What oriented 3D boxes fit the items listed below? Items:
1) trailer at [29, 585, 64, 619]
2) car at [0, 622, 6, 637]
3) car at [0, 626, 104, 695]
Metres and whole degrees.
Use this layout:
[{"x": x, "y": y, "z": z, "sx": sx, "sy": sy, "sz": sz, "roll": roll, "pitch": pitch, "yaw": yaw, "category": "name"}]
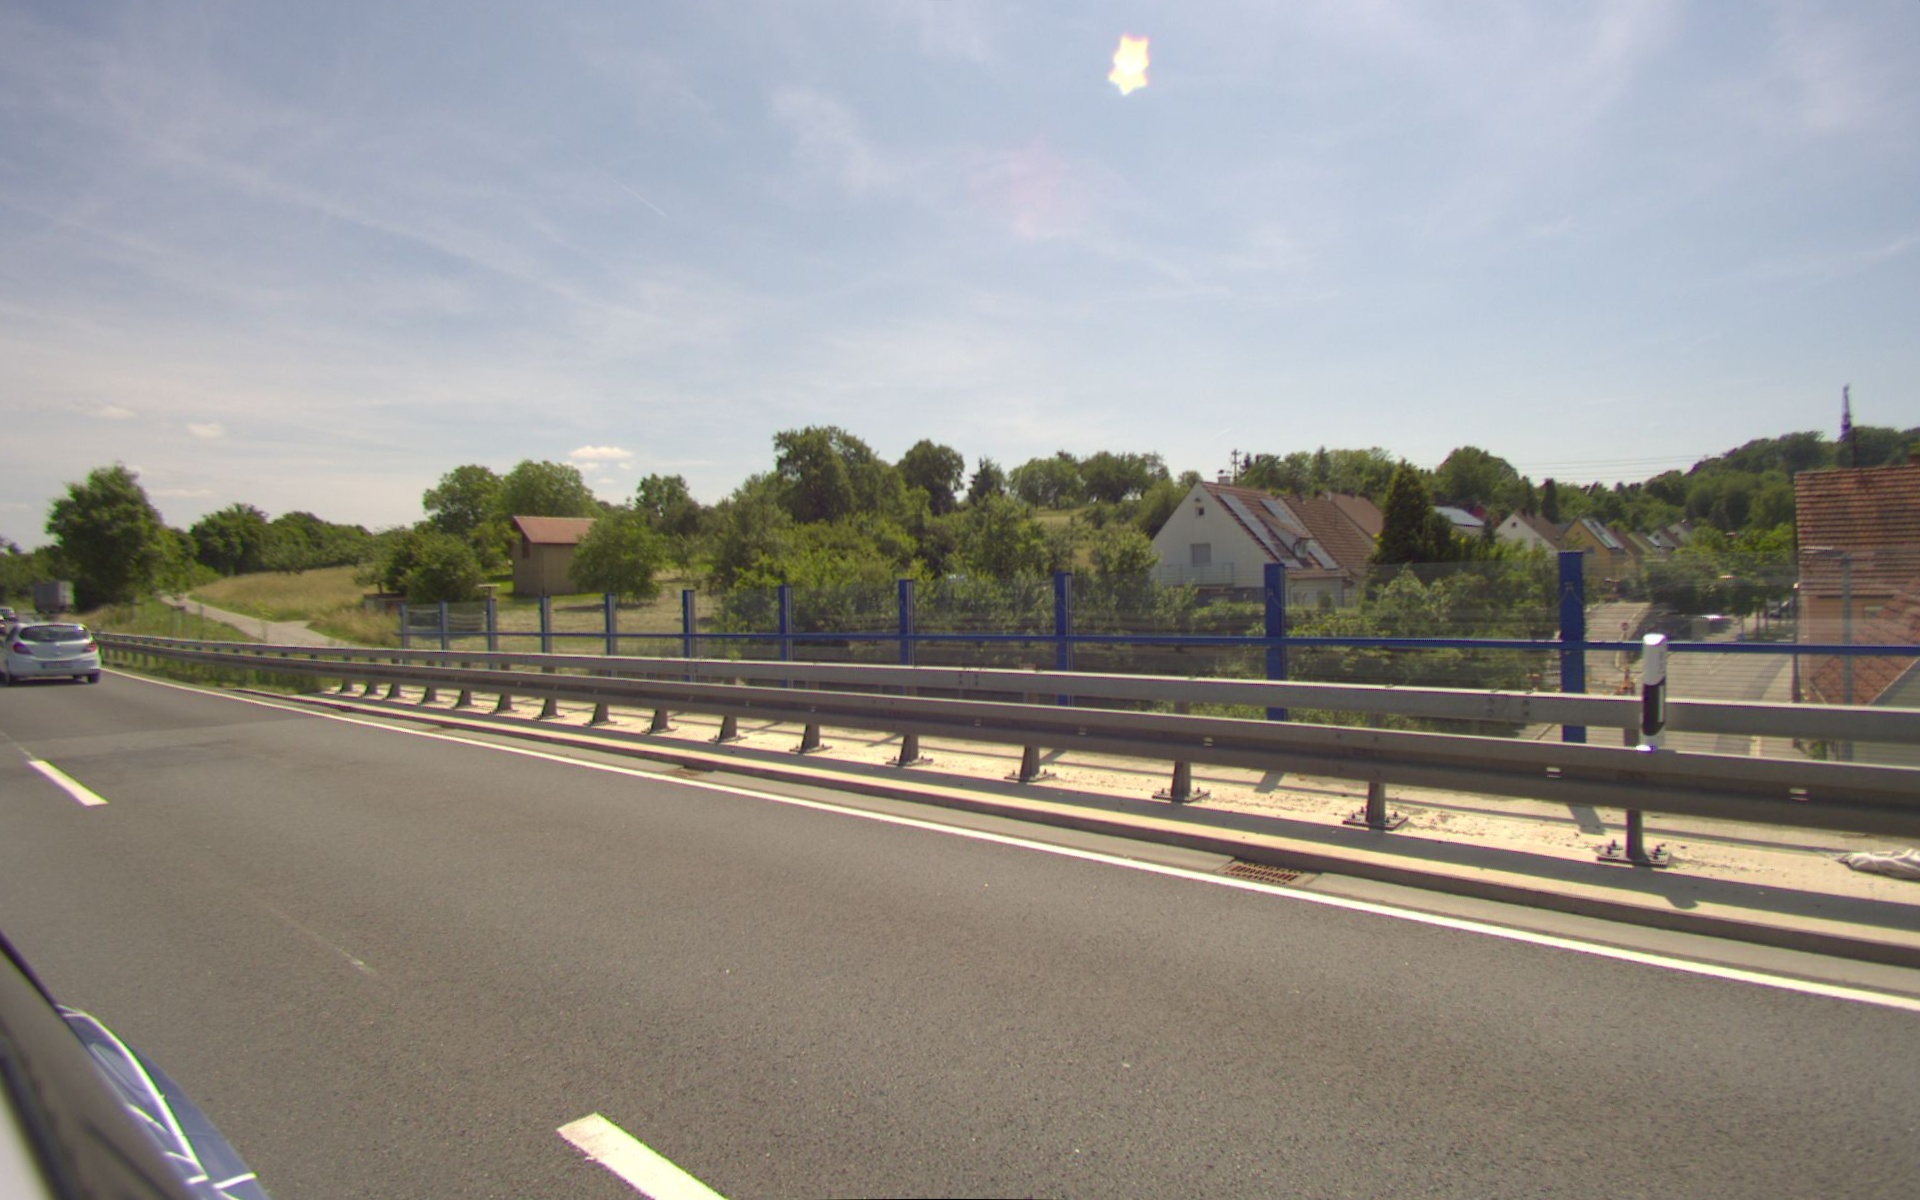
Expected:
[{"x": -120.258, "y": 0.351, "z": 133.355, "sx": 2.414, "sy": 4.216, "sz": 14.042, "roll": 1, "pitch": -1, "yaw": -38, "category": "trailer"}, {"x": -92.868, "y": 2.825, "z": 97.094, "sx": 1.625, "sy": 1.452, "sz": 4.165, "roll": 2, "pitch": -2, "yaw": -40, "category": "car"}, {"x": -22.335, "y": 1.403, "z": 24.641, "sx": 4.117, "sy": 1.516, "sz": 1.689, "roll": -1, "pitch": -2, "yaw": 41, "category": "car"}]
